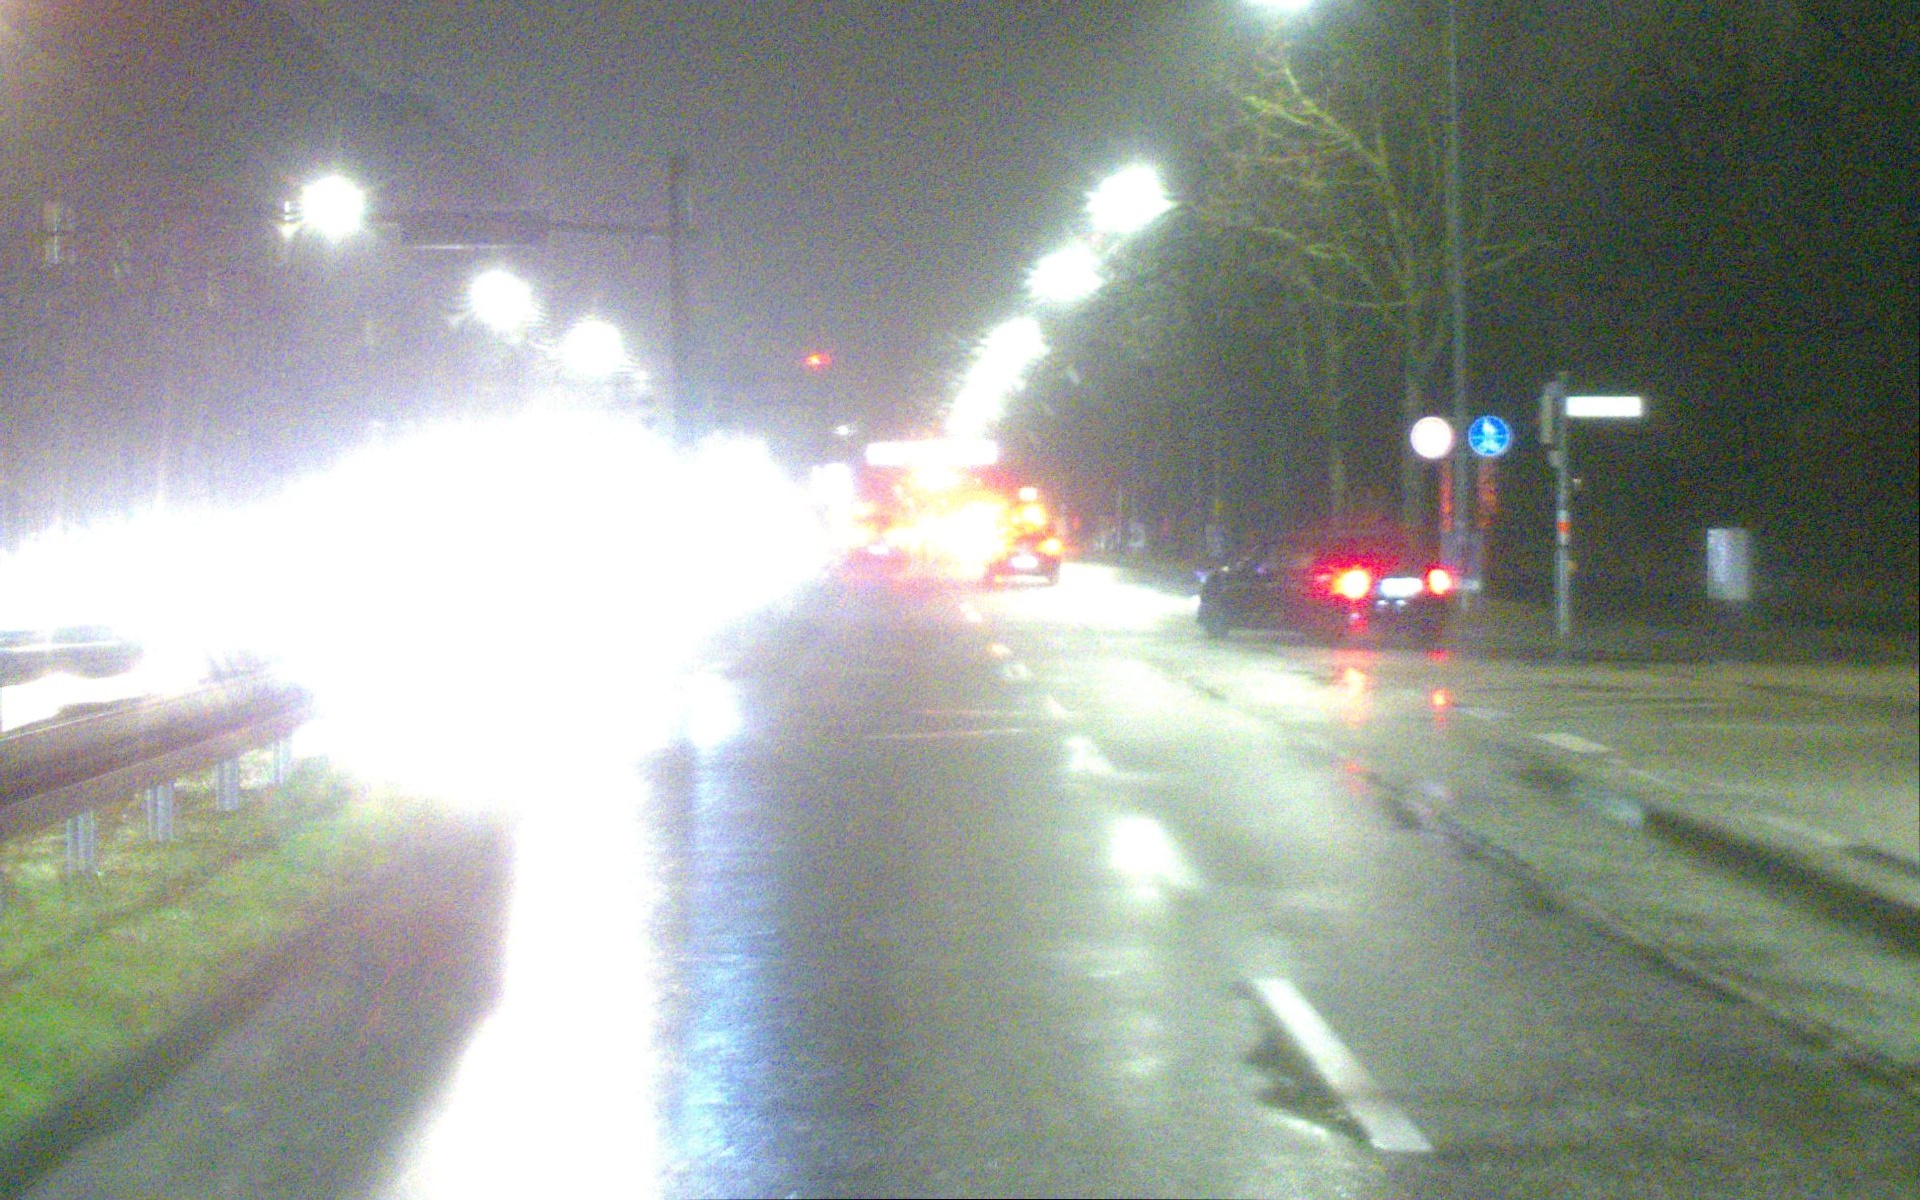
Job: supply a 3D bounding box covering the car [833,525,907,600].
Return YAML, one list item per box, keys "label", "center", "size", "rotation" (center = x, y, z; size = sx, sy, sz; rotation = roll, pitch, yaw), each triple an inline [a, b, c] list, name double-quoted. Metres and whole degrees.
- label: "car"
  center: [-2.458, -1.028, 94.656]
  size: [1.993, 2.007, 4.000]
  rotation: [0, 0, -1]

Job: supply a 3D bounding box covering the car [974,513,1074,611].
- label: "car"
  center: [1.463, -0.864, 79.639]
  size: [2.208, 2.207, 3.643]
  rotation: [0, 0, 0]

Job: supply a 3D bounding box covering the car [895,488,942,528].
- label: "car"
  center: [-2.406, -5.296, 198.225]
  size: [2.441, 2.186, 5.079]
  rotation: [0, 0, -3]

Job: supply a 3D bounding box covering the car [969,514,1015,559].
- label: "car"
  center: [1.470, -2.862, 155.593]
  size: [2.038, 2.007, 4.307]
  rotation: [0, 0, 1]

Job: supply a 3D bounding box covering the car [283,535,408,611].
- label: "car"
  center: [-12.901, -0.559, 72.455]
  size: [1.885, 1.547, 4.433]
  rotation: [0, 0, -1]

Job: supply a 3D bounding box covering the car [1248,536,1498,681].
- label: "car"
  center: [5.259, 0.087, 44.308]
  size: [1.901, 1.774, 4.001]
  rotation: [0, 0, -14]

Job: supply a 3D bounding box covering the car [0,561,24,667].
- label: "car"
  center: [-14.981, 0.211, 49.770]
  size: [1.800, 1.559, 4.000]
  rotation: [0, 0, -1]

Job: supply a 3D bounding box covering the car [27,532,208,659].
- label: "car"
  center: [-12.158, -0.084, 49.844]
  size: [1.749, 1.703, 4.499]
  rotation: [-2, 1, -4]

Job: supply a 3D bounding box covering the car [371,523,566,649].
- label: "car"
  center: [-6.601, -0.198, 46.662]
  size: [1.993, 1.604, 4.970]
  rotation: [0, 0, -1]
